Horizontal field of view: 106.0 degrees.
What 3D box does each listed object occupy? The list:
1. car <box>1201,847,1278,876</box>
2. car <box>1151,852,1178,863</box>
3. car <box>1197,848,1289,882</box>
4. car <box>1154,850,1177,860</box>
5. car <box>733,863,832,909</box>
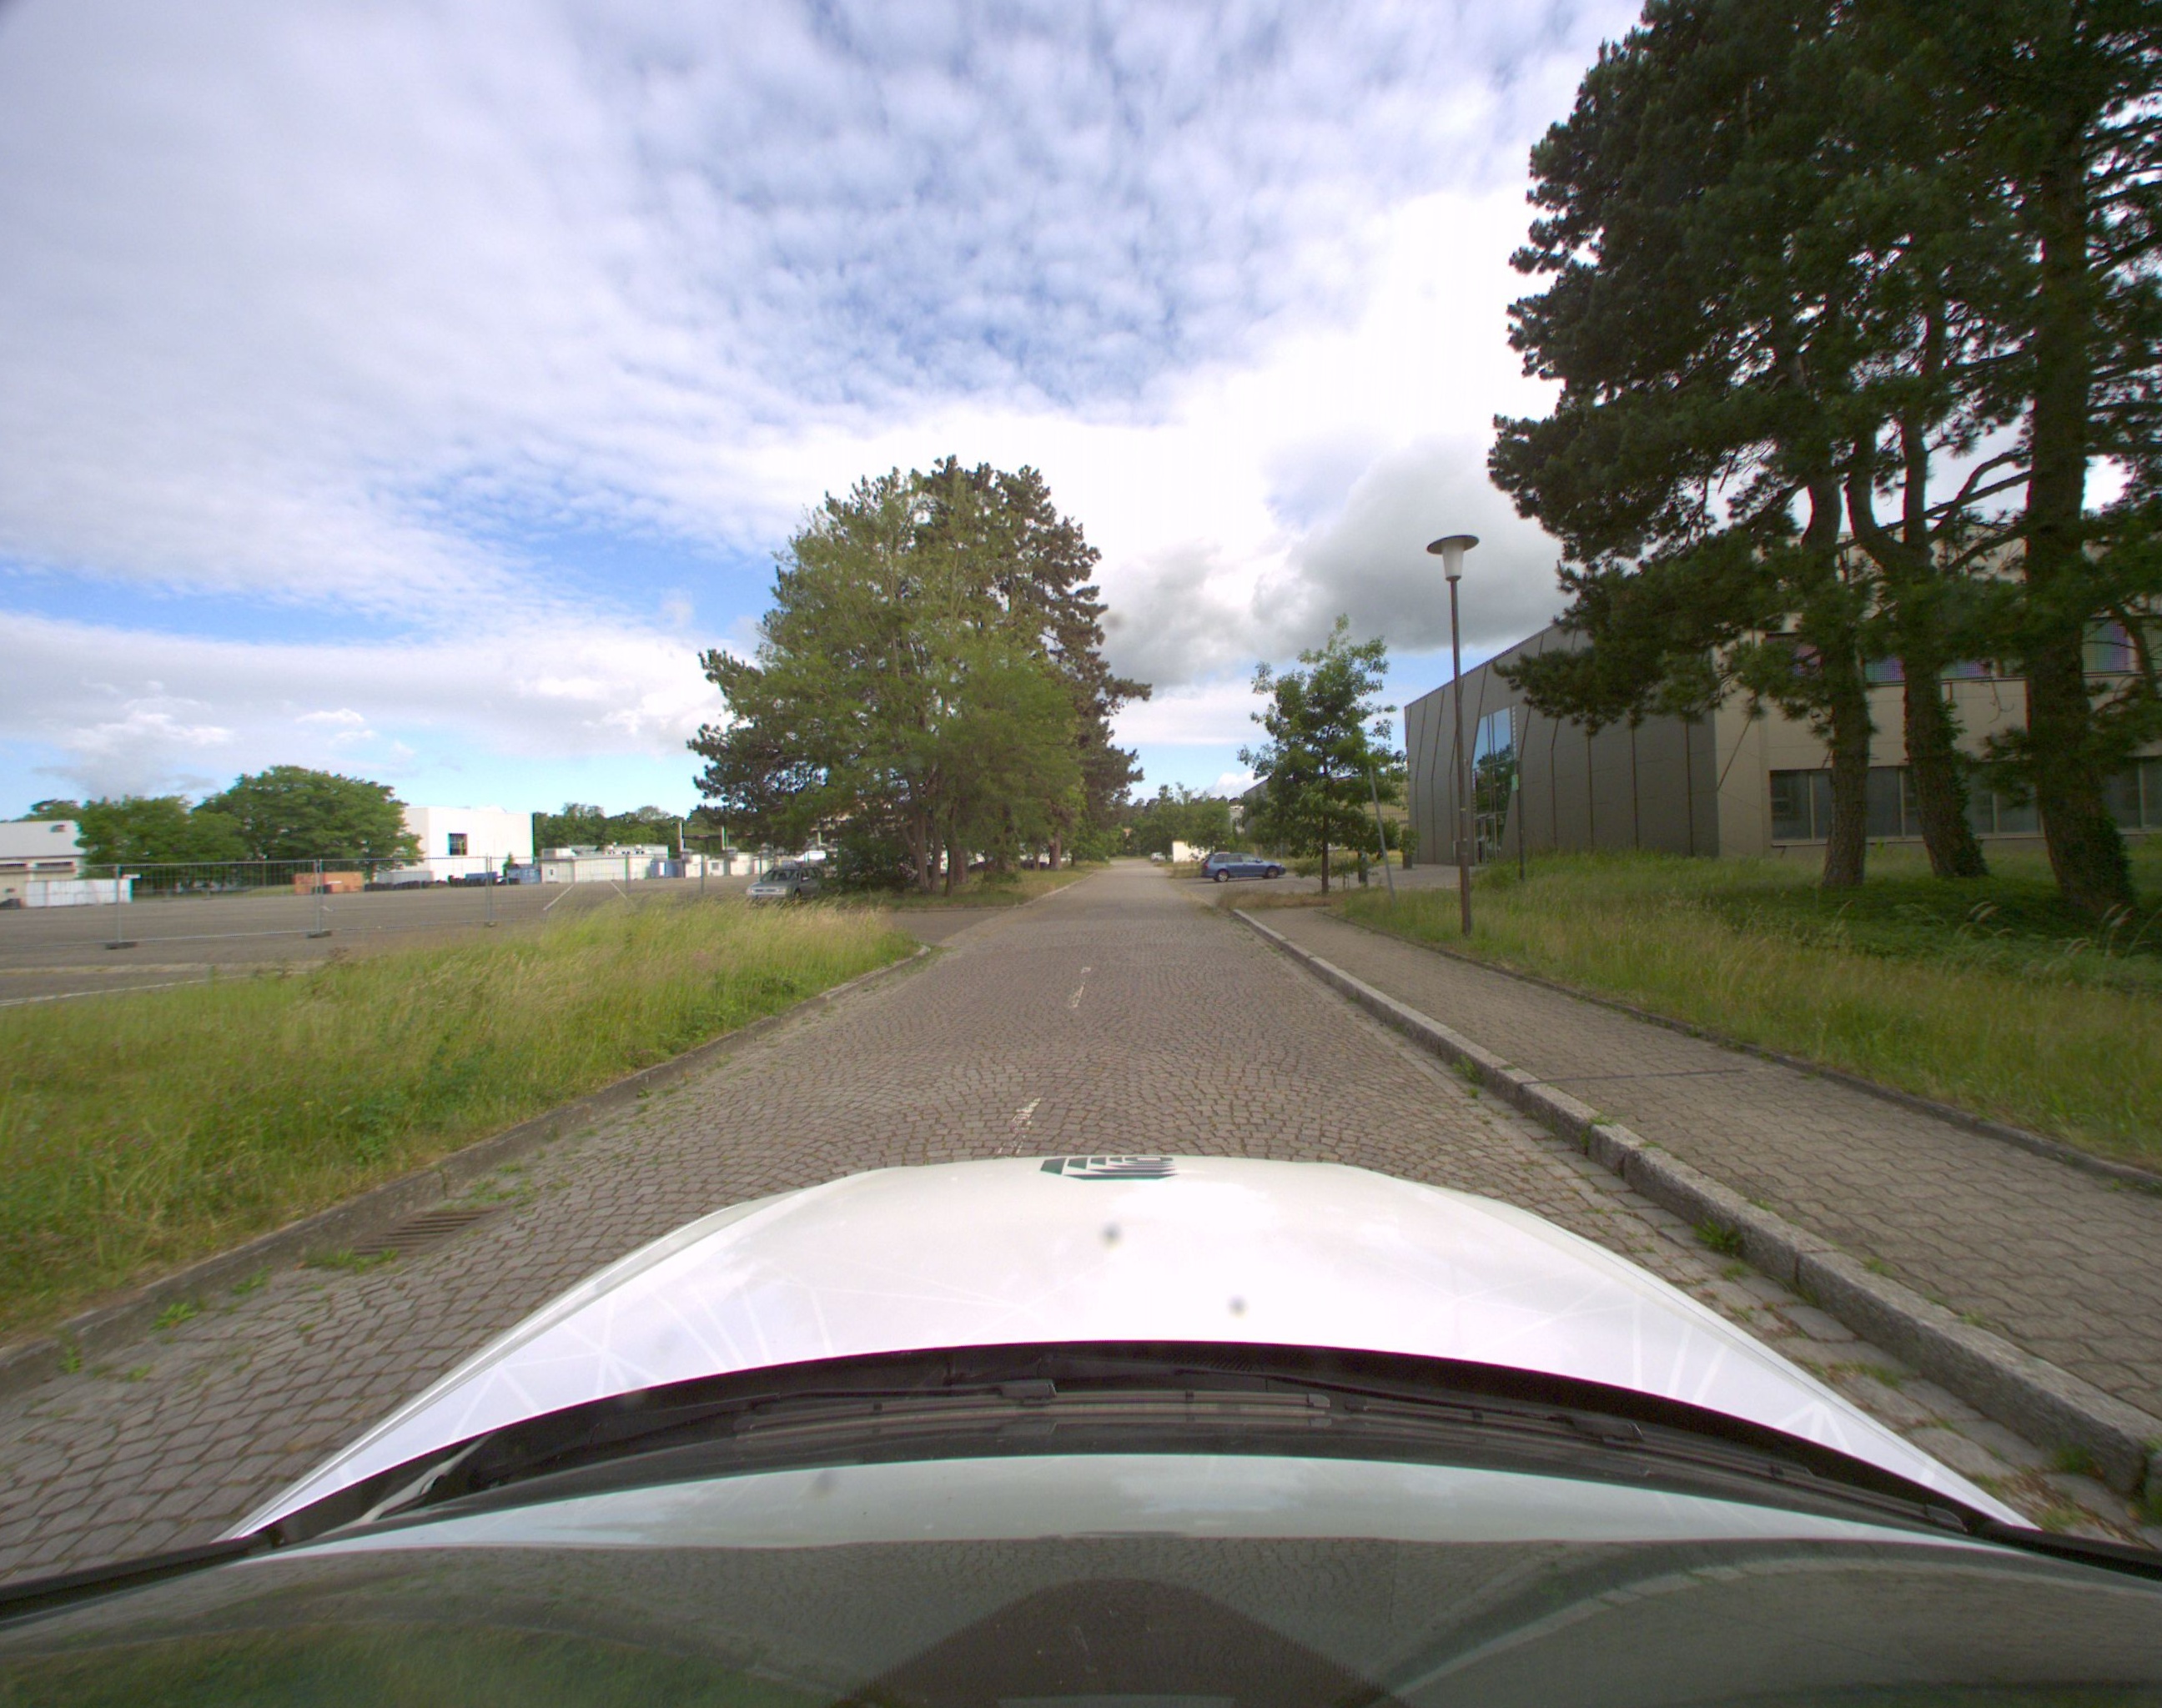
[{"bbox_3d":[9.865,0.469,51.023,4.497,1.531,2.002,-3,0,4],"label":"car"},{"bbox_3d":[14.023,0.598,137.219,4.337,1.687,1.927,-2,0,2],"label":"car"},{"bbox_3d":[8.659,0.584,43.748,4.503,1.531,2.000,-3,0,0],"label":"car"},{"bbox_3d":[16.330,0.170,158.140,4.334,1.780,1.928,-2,0,5],"label":"car"},{"bbox_3d":[-10.861,1.107,29.965,1.912,1.477,4.370,-2,0,1],"label":"car"}]
